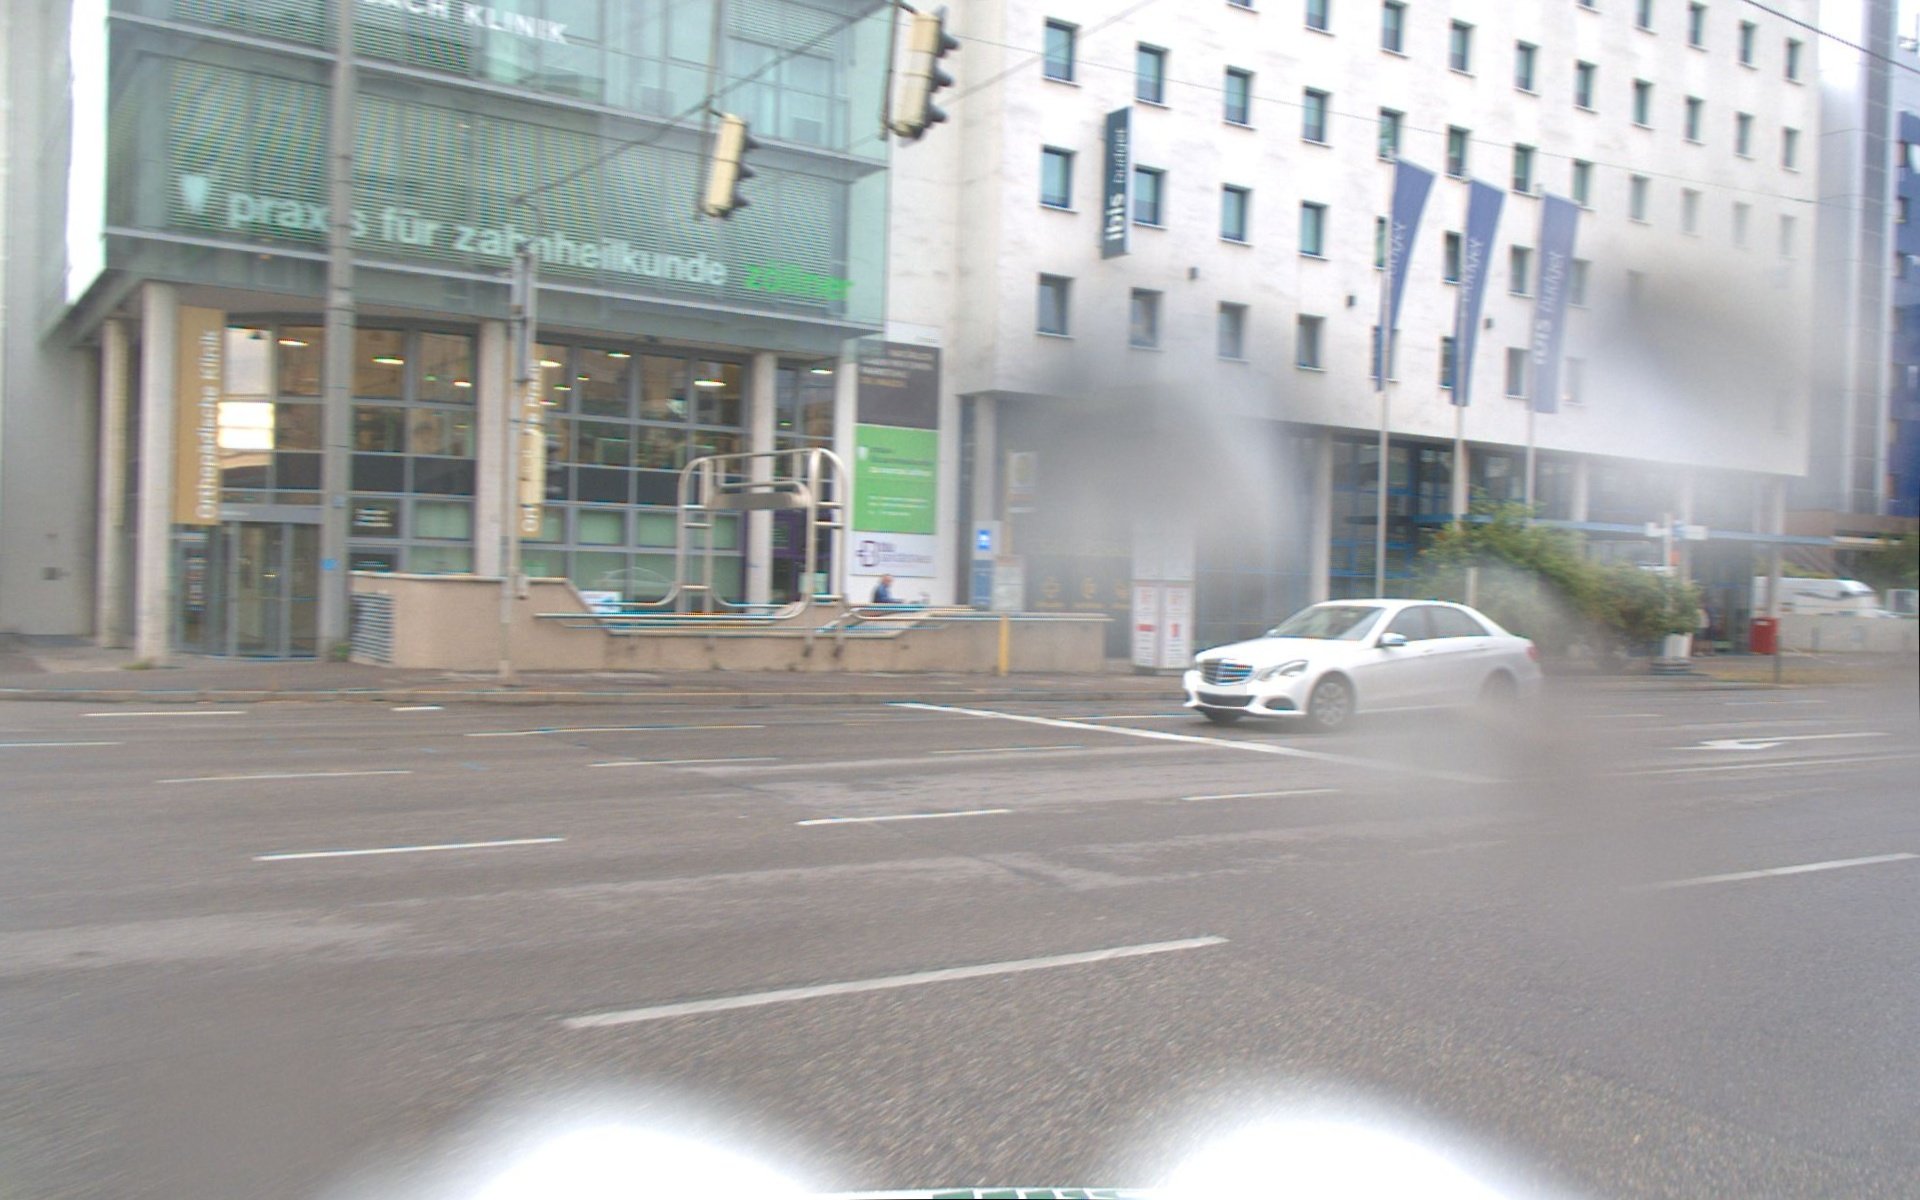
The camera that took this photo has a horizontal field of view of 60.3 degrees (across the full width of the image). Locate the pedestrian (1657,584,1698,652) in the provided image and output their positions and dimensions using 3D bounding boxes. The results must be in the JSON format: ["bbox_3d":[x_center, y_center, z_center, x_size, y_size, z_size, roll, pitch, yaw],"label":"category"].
[{"bbox_3d":[21.889,0.553,50.454,0.805,2.049,0.796,4,-3,-33],"label":"pedestrian"}]

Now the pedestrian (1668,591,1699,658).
[{"bbox_3d":[22.580,0.778,51.609,0.797,2.049,0.803,1,-3,28],"label":"pedestrian"}]

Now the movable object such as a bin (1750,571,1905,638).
[{"bbox_3d":[37.112,0.220,70.909,2.135,2.674,5.578,4,-3,-33],"label":"movable object such as a bin"}]

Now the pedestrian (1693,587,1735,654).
[{"bbox_3d":[23.681,0.666,51.947,0.880,2.049,0.814,2,-2,-4],"label":"pedestrian"}]

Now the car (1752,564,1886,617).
[{"bbox_3d":[35.785,-0.365,69.017,1.869,2.049,4.673,4,-3,-33],"label":"car"}]

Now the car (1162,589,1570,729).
[{"bbox_3d":[4.776,0.649,19.128,4.905,1.411,1.801,1,0,-35],"label":"car"}]
